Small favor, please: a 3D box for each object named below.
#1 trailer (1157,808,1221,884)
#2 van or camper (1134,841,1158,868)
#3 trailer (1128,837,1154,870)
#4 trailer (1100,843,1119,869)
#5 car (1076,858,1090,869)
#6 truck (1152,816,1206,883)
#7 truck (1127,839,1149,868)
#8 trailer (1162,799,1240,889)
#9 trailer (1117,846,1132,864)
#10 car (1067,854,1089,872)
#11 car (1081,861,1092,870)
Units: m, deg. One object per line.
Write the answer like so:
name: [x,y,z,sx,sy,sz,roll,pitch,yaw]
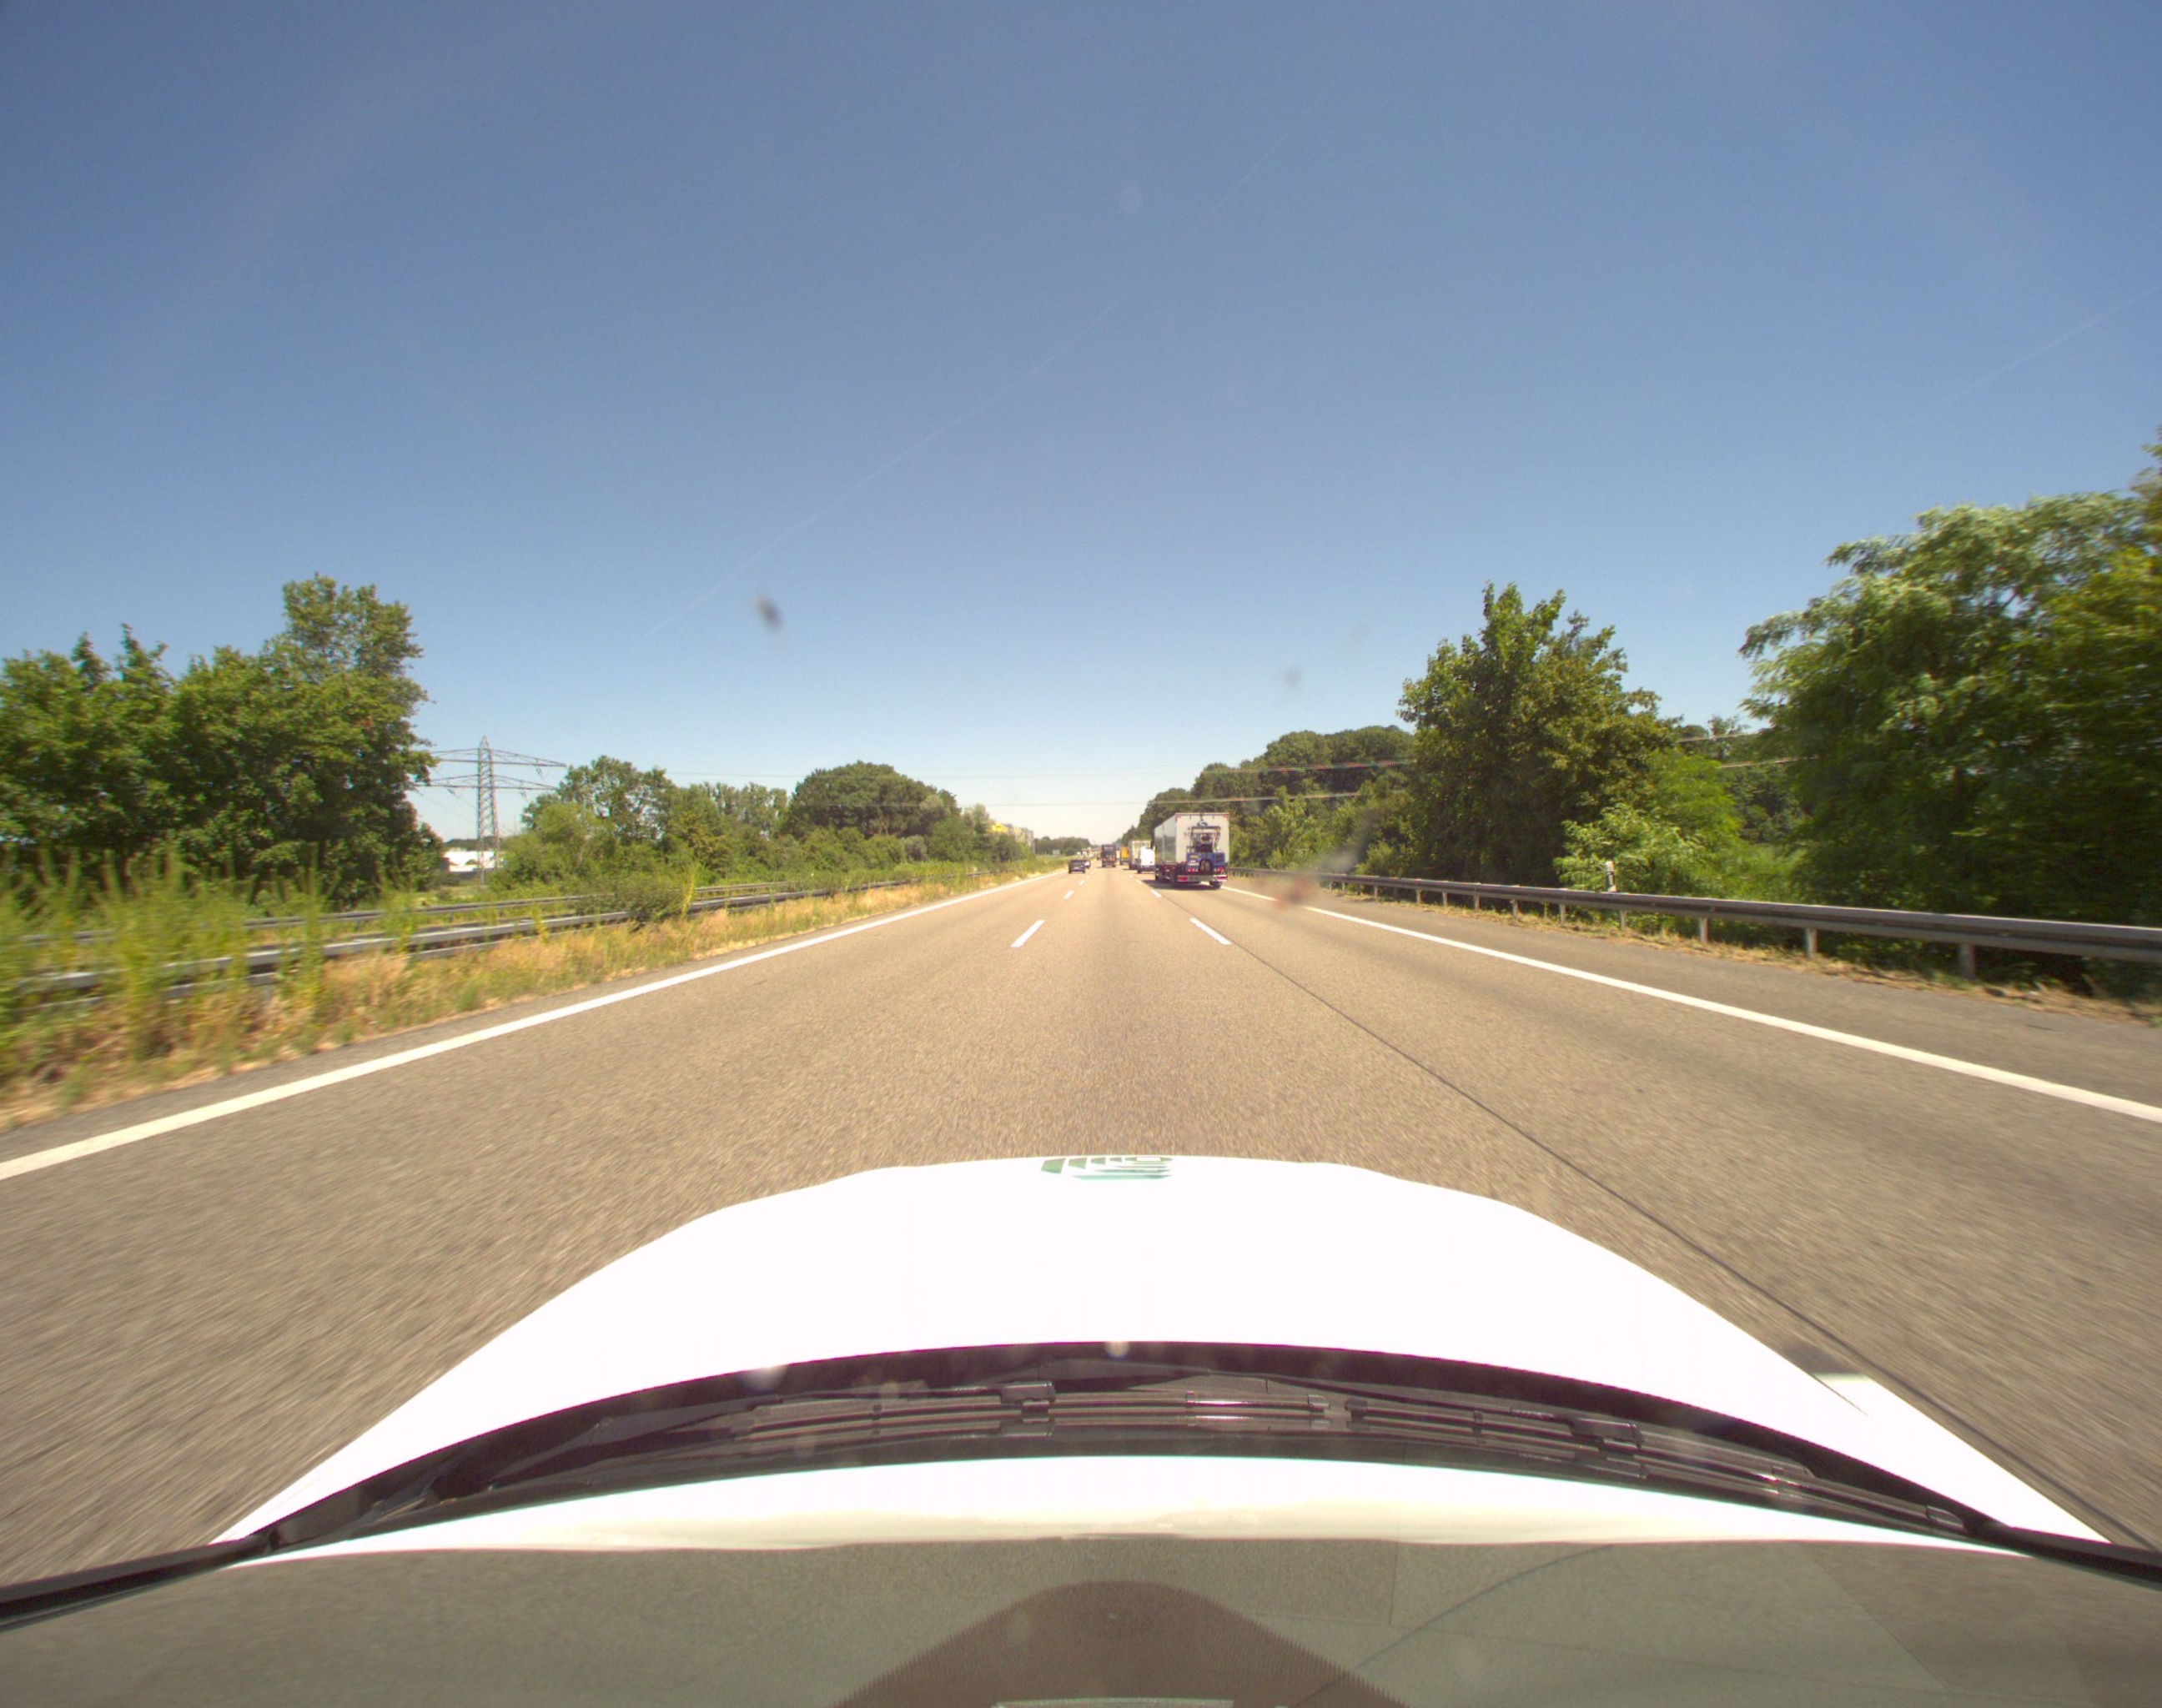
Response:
trailer: [6.052,-0.406,46.844,2.909,4.041,7.319,0,-1,2]
van or camper: [6.552,0.082,82.362,2.015,2.637,6.489,-1,0,2]
trailer: [8.146,-0.073,112.514,2.982,4.289,13.423,0,0,2]
trailer: [5.037,0.390,146.458,3.095,4.507,14.899,-1,0,1]
car: [0.347,1.438,126.173,1.986,1.728,4.131,-1,0,1]
truck: [6.232,-0.242,52.843,2.878,4.030,6.873,0,-1,2]
truck: [8.368,0.007,120.038,2.991,4.125,5.254,-1,-1,2]
trailer: [5.830,-0.417,40.825,2.934,4.063,8.130,0,-1,2]
trailer: [9.683,0.234,182.077,2.824,3.953,11.687,-1,0,2]
car: [-0.311,0.985,89.218,2.208,1.790,5.395,-2,0,2]
car: [1.063,2.246,157.719,1.934,1.706,4.001,-2,0,2]
